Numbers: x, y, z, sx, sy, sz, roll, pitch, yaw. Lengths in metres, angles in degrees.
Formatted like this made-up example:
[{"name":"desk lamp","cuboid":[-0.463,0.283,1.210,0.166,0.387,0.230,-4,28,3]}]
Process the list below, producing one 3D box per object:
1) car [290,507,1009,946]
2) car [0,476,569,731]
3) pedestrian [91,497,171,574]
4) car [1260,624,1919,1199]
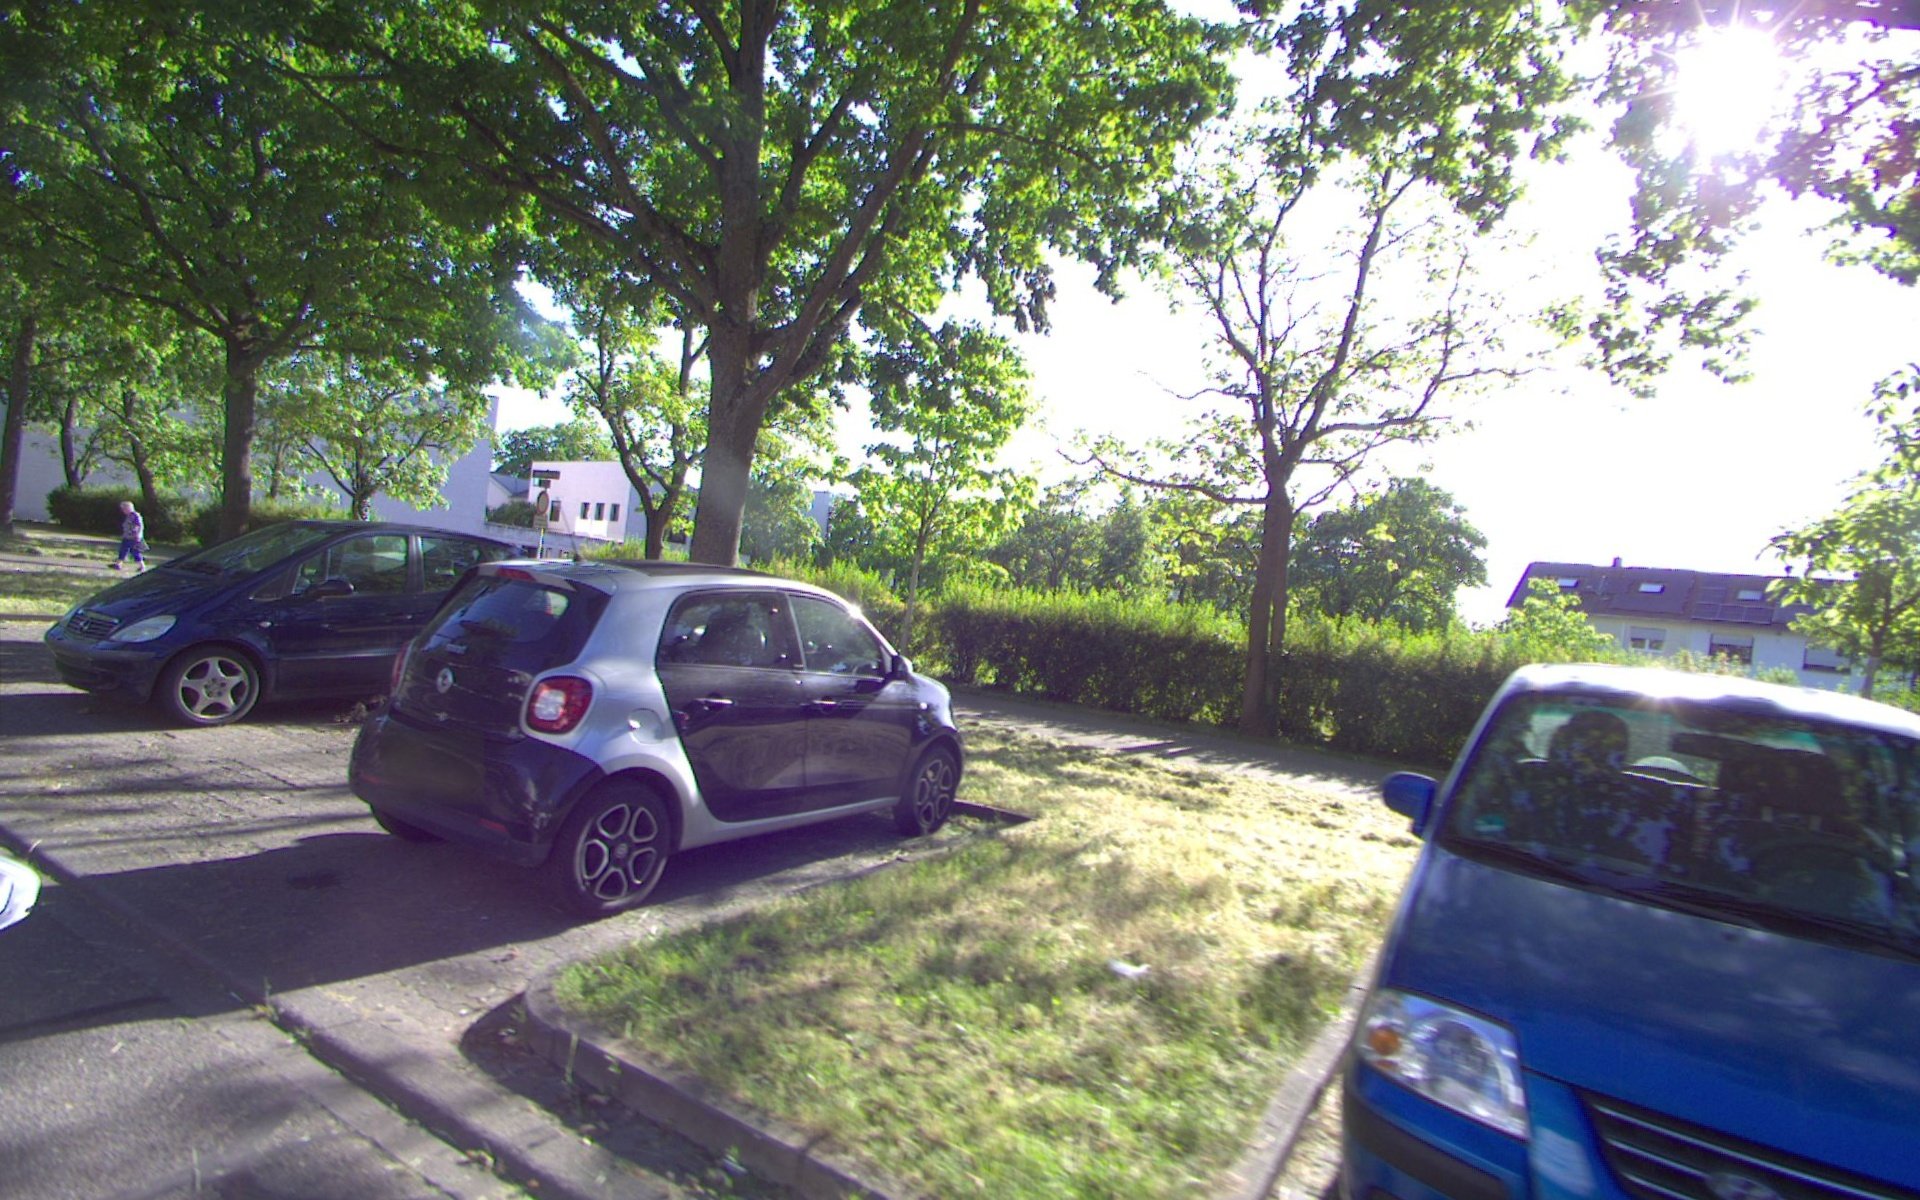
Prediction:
[{"name":"car","cuboid":[-1.432,0.536,5.814,1.757,1.597,3.585,7,1,32]},{"name":"car","cuboid":[-5.492,0.056,8.551,1.826,1.597,3.587,7,1,30]},{"name":"pedestrian","cuboid":[-18.095,-1.389,21.980,0.870,1.519,0.941,7,2,-9]},{"name":"car","cuboid":[2.278,0.995,3.107,1.638,1.552,3.523,7,1,32]}]
